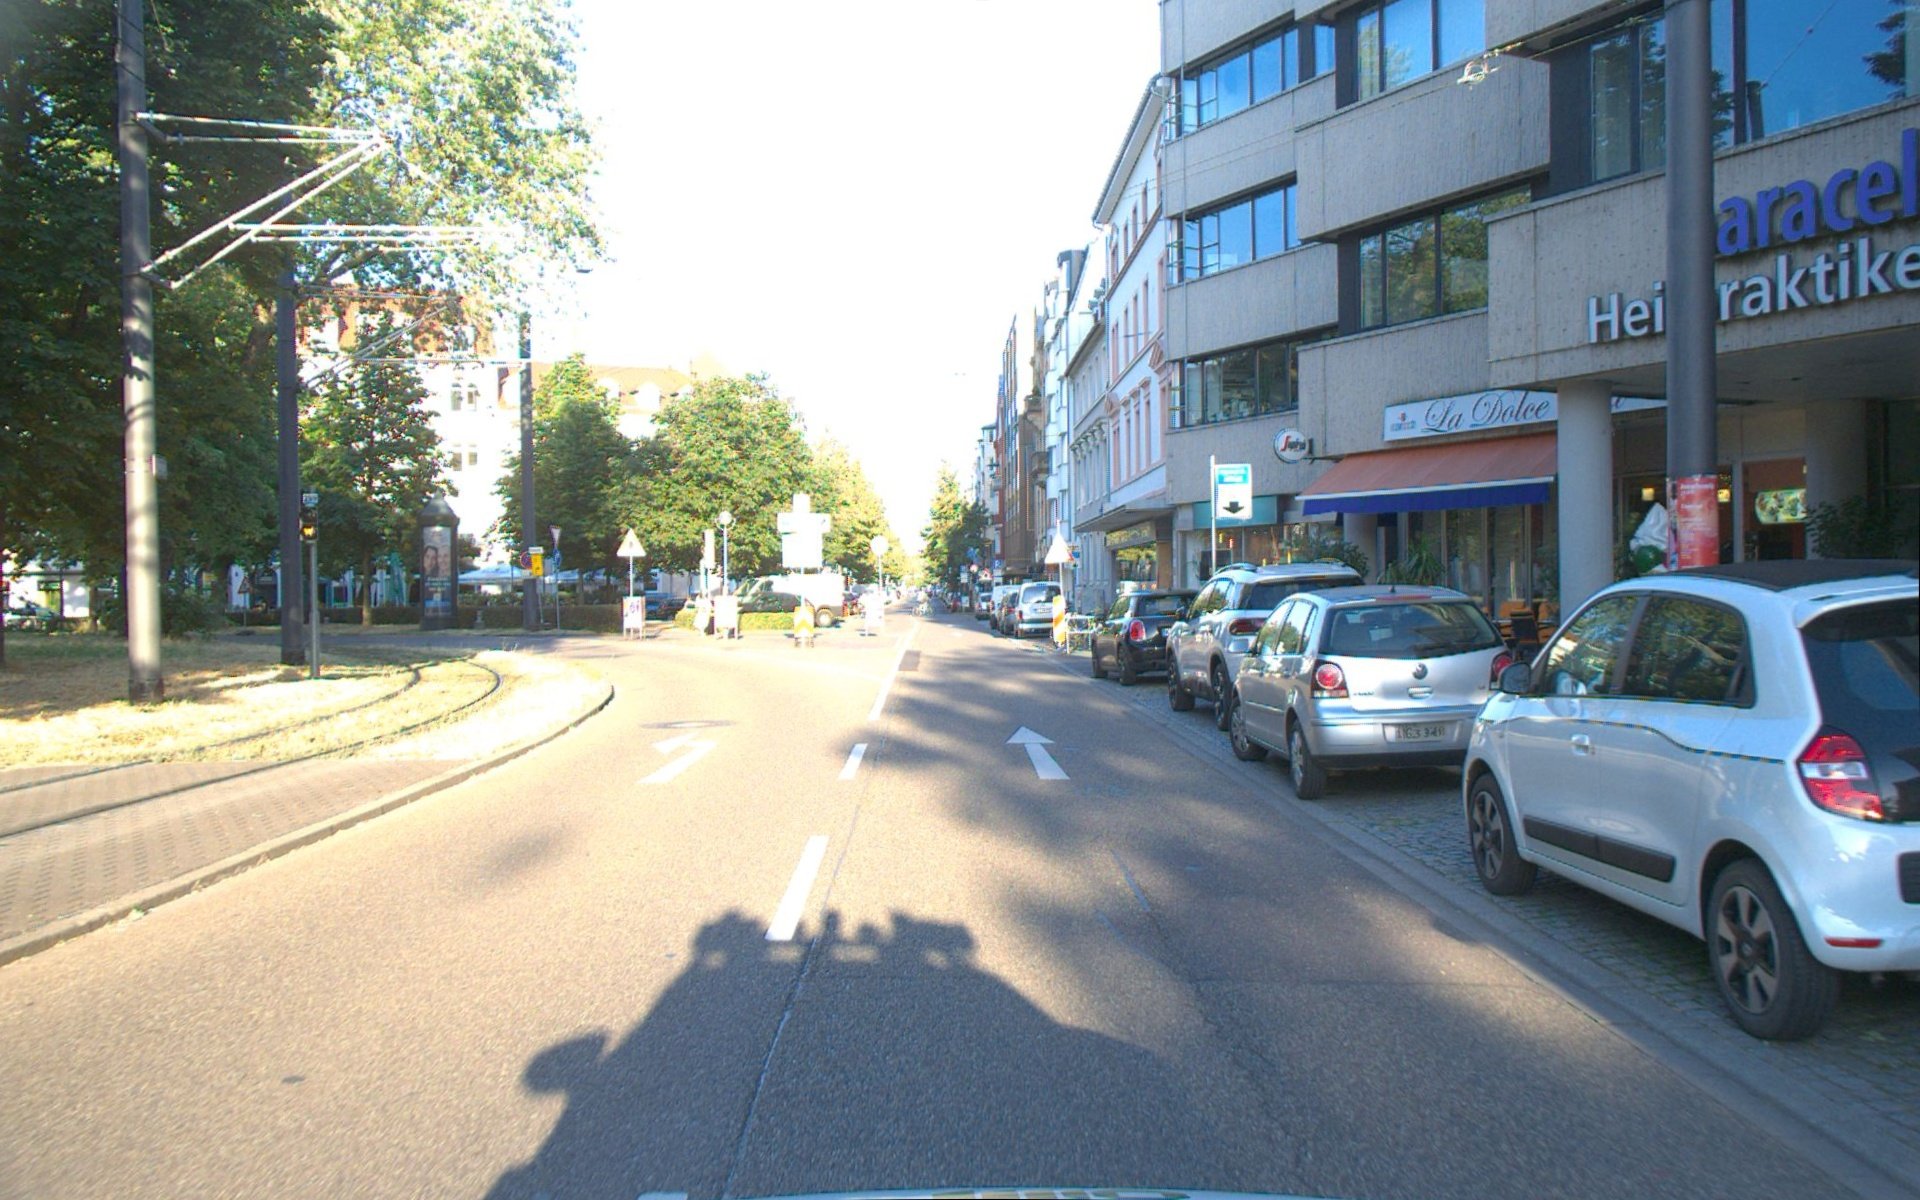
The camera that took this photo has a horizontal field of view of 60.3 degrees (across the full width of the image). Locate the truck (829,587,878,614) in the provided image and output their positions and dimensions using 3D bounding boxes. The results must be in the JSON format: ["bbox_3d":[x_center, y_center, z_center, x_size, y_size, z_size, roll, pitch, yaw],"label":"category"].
[{"bbox_3d":[-10.870,0.077,168.620,4.841,2.661,1.999,-1,0,-2],"label":"truck"}]

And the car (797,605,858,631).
[{"bbox_3d":[-9.814,1.332,122.568,4.359,1.867,2.033,0,0,-2],"label":"car"}]

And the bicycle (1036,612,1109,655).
[{"bbox_3d":[2.938,0.873,43.223,1.751,1.007,0.542,-3,1,22],"label":"bicycle"}]

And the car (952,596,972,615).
[{"bbox_3d":[0.168,0.509,146.266,1.545,1.569,3.394,-3,-1,-4],"label":"car"}]

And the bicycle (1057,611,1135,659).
[{"bbox_3d":[3.234,0.830,39.312,1.750,1.007,0.542,-4,1,10],"label":"bicycle"}]

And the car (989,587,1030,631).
[{"bbox_3d":[2.172,0.366,73.075,1.675,1.867,4.305,0,0,0],"label":"car"}]

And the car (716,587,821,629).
[{"bbox_3d":[-7.598,0.295,65.844,3.849,1.610,1.776,-1,0,-41],"label":"car"}]

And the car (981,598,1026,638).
[{"bbox_3d":[1.753,0.709,67.059,1.633,1.571,3.882,0,0,-1],"label":"car"}]

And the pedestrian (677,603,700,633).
[{"bbox_3d":[-11.886,0.795,72.407,0.741,1.300,0.652,0,0,-38],"label":"pedestrian"}]

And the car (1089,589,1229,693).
[{"bbox_3d":[3.115,0.601,26.544,1.753,1.534,3.920,0,0,0],"label":"car"}]

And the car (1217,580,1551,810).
[{"bbox_3d":[3.190,0.636,13.226,1.607,1.555,3.999,0,0,-1],"label":"car"}]

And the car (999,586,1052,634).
[{"bbox_3d":[2.354,0.356,60.296,1.623,1.694,4.106,0,0,-2],"label":"car"}]

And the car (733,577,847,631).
[{"bbox_3d":[-7.426,0.176,72.299,4.546,2.290,2.183,0,0,-28],"label":"car"}]

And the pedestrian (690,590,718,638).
[{"bbox_3d":[-8.428,0.451,54.424,0.692,1.586,0.685,0,0,-38],"label":"pedestrian"}]

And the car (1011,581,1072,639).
[{"bbox_3d":[2.670,0.335,55.056,1.756,1.823,4.091,-1,0,-1],"label":"car"}]

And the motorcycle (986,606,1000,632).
[{"bbox_3d":[1.630,0.940,82.677,0.576,1.221,2.209,0,0,-2],"label":"motorcycle"}]

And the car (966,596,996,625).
[{"bbox_3d":[1.298,0.647,104.322,1.662,1.800,3.999,-1,0,-2],"label":"car"}]

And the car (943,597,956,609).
[{"bbox_3d":[-1.141,0.312,178.257,1.182,1.323,2.658,0,-1,-4],"label":"car"}]

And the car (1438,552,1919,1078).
[{"bbox_3d":[3.390,0.656,6.961,1.553,1.618,3.666,0,0,-3],"label":"car"}]

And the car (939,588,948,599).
[{"bbox_3d":[-2.477,-0.939,249.109,1.283,1.628,2.659,0,0,-4],"label":"car"}]

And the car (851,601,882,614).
[{"bbox_3d":[-11.344,0.929,201.475,3.664,1.519,1.999,-1,0,-2],"label":"car"}]

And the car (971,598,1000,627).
[{"bbox_3d":[1.538,0.741,99.279,1.646,1.588,4.001,-2,0,1],"label":"car"}]

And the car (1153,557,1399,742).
[{"bbox_3d":[3.403,0.484,18.663,1.748,1.836,4.399,0,0,-3],"label":"car"}]
